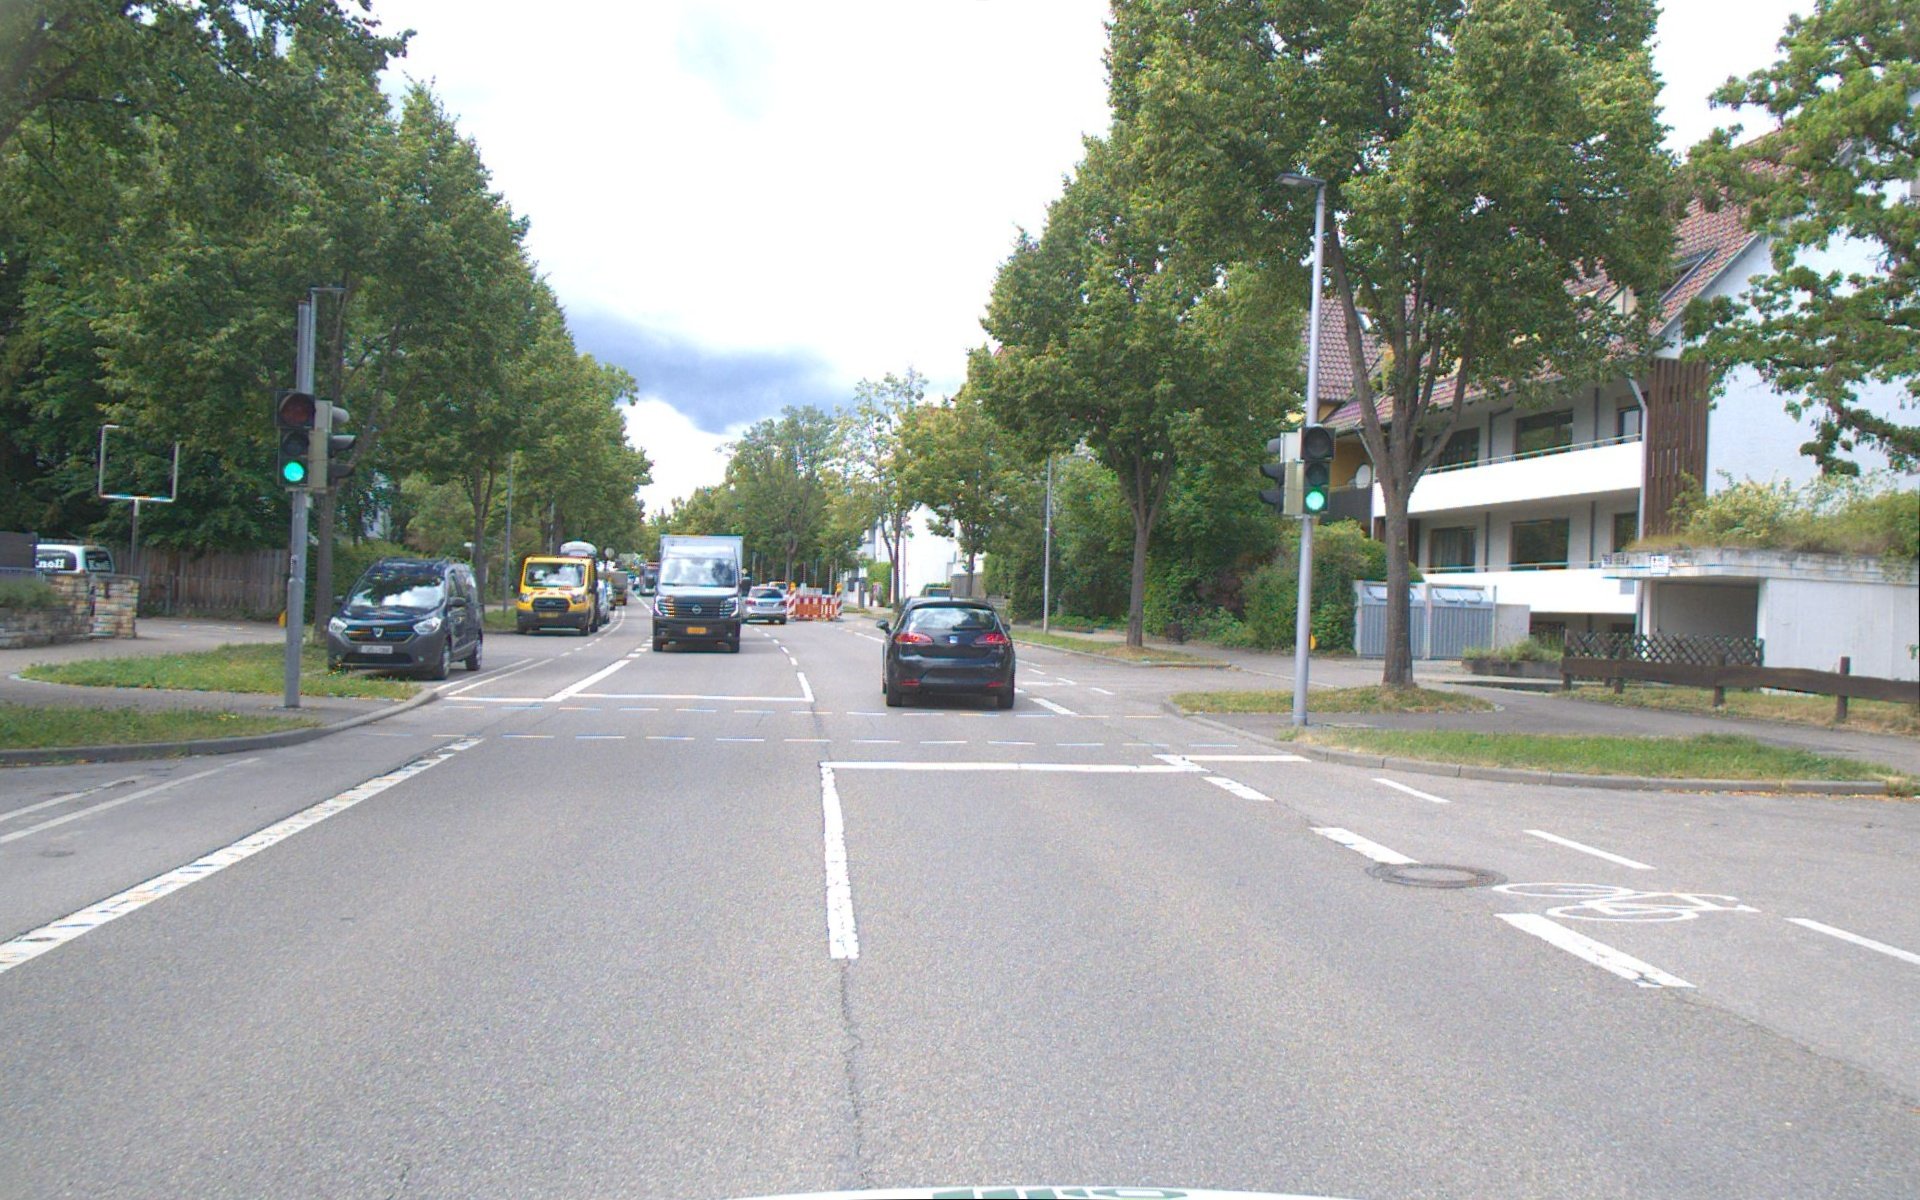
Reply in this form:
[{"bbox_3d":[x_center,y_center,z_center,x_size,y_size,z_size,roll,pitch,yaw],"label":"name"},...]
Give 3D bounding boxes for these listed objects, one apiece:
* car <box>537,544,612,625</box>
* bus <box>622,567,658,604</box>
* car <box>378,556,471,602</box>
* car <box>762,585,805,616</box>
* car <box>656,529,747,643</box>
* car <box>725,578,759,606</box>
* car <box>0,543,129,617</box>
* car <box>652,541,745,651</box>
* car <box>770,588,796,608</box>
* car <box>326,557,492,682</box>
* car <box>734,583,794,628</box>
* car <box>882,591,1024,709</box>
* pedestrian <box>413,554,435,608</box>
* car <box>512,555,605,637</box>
[{"bbox_3d":[-13.524,-0.541,58.296,2.053,2.672,5.036,1,0,-8],"label":"car"},{"bbox_3d":[-20.249,-0.923,104.827,1.957,2.160,7.343,2,0,-9],"label":"bus"},{"bbox_3d":[-23.747,-0.922,73.443,3.613,1.960,1.676,1,0,-8],"label":"car"},{"bbox_3d":[-8.617,0.003,80.476,1.778,1.440,3.683,1,0,-11],"label":"car"},{"bbox_3d":[-6.972,-0.376,45.238,2.244,2.840,7.132,0,0,-7],"label":"car"},{"bbox_3d":[-12.923,-0.477,97.824,1.758,1.651,3.730,1,0,-11],"label":"car"},{"bbox_3d":[-23.718,-0.510,42.369,3.905,1.800,1.746,1,0,0],"label":"car"},{"bbox_3d":[-6.107,-0.110,39.132,1.990,2.426,5.253,0,0,-7],"label":"car"},{"bbox_3d":[-13.065,-0.154,122.107,1.775,1.440,3.689,1,0,-5],"label":"car"},{"bbox_3d":[-8.589,0.266,26.115,1.635,1.803,4.460,0,0,-7],"label":"car"},{"bbox_3d":[-7.894,0.198,66.381,1.874,1.715,3.724,1,0,-15],"label":"car"},{"bbox_3d":[-0.150,0.621,22.812,1.782,1.463,3.738,1,0,-2],"label":"car"},{"bbox_3d":[-17.692,-0.615,54.600,0.584,1.772,0.573,1,0,-9],"label":"pedestrian"},{"bbox_3d":[-11.560,-0.135,47.908,2.053,2.213,5.036,1,0,-8],"label":"car"}]
